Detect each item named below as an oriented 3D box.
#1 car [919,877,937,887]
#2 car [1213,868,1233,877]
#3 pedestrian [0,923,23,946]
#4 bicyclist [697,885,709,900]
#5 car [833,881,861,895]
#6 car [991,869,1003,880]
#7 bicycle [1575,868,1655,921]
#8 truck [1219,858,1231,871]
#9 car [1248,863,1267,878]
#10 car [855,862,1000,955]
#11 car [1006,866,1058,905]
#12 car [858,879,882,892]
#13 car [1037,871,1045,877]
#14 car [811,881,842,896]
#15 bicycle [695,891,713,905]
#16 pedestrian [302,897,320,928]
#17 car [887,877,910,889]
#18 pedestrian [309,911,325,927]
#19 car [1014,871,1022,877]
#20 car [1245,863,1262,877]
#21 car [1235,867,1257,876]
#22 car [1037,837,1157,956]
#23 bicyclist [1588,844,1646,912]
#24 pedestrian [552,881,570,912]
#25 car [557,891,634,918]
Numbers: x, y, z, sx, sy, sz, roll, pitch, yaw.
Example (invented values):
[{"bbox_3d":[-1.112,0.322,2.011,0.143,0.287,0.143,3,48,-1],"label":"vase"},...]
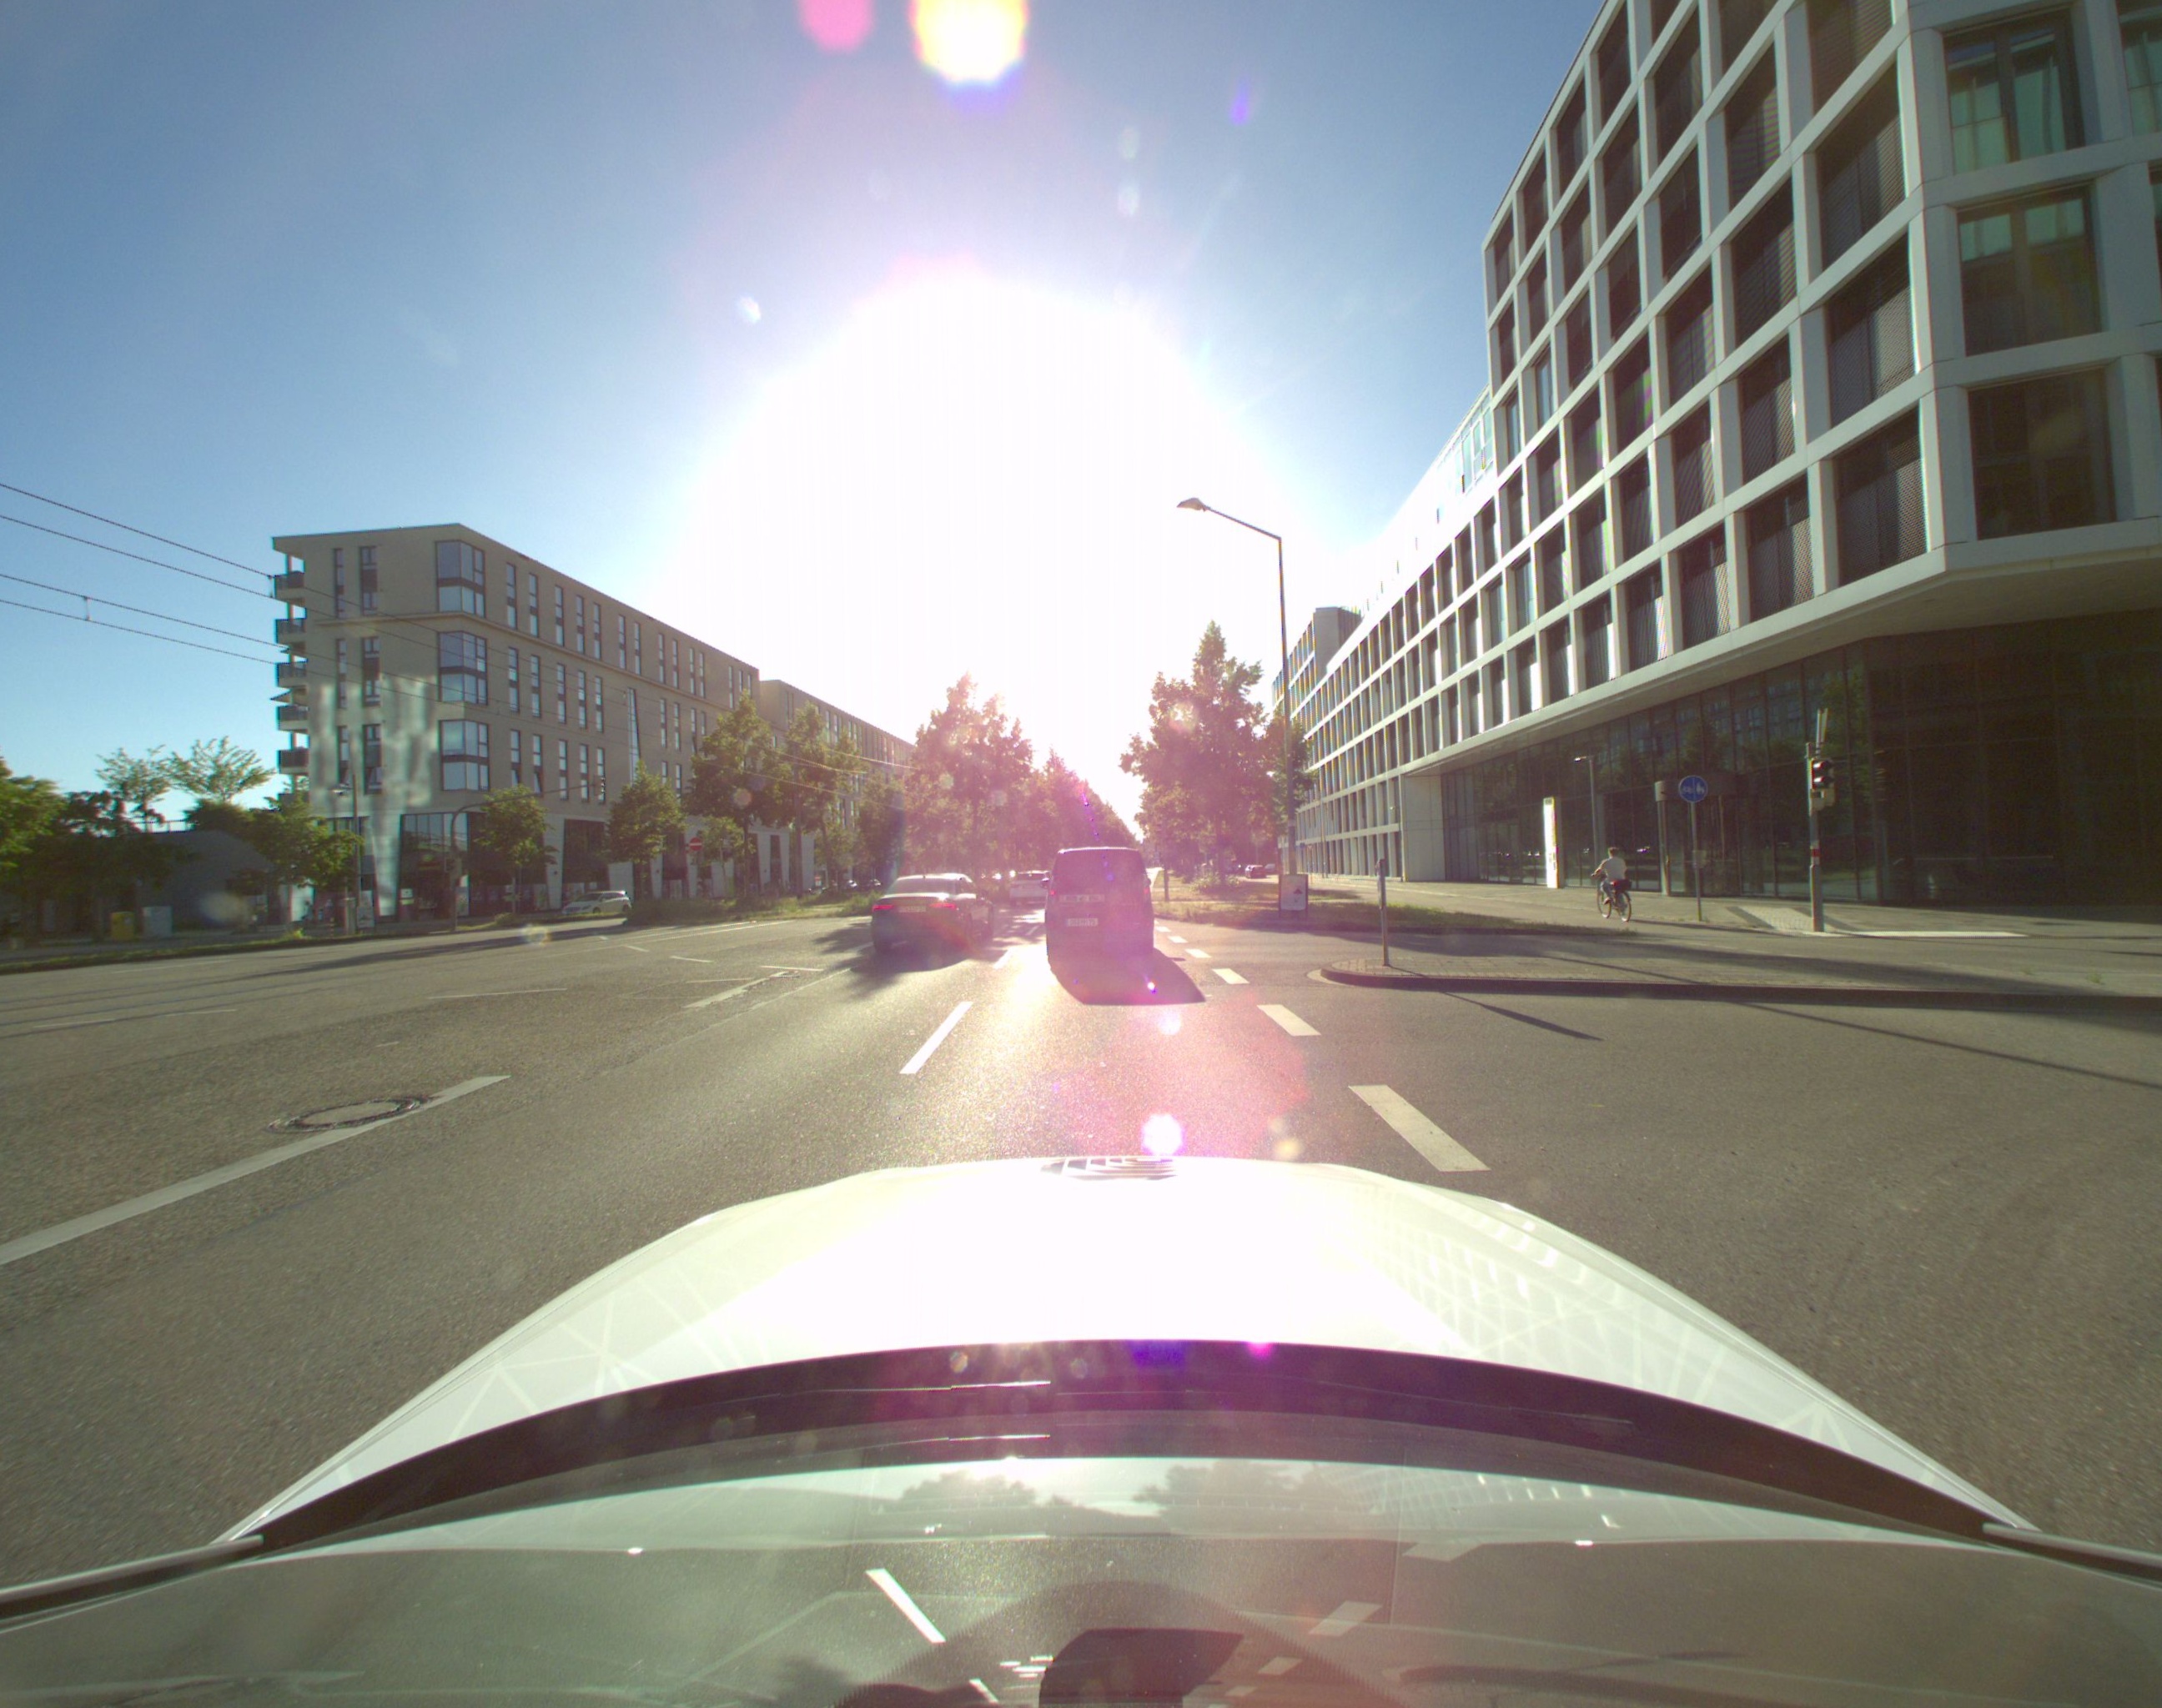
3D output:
[{"bbox_3d":[-22.315,4.030,119.077,1.572,1.342,3.717,-2,-1,5],"label":"car"},{"bbox_3d":[25.132,3.279,144.290,3.376,1.359,1.475,-2,-1,12],"label":"car"},{"bbox_3d":[-56.330,4.248,42.892,0.436,1.125,0.601,-1,-2,8],"label":"pedestrian"},{"bbox_3d":[-32.339,3.277,69.719,0.574,1.293,0.707,-2,-2,13],"label":"bicyclist"},{"bbox_3d":[-25.007,3.661,87.056,1.572,1.342,3.717,-2,-1,5],"label":"car"},{"bbox_3d":[-17.339,4.260,168.236,1.721,2.014,4.003,-2,-1,3],"label":"car"},{"bbox_3d":[12.704,0.934,19.450,0.738,1.174,1.964,-2,-1,6],"label":"bicycle"},{"bbox_3d":[29.005,2.065,164.126,1.823,2.501,5.940,-2,-1,5],"label":"truck"},{"bbox_3d":[20.242,1.850,93.596,1.748,1.611,3.911,-2,-1,7],"label":"car"},{"bbox_3d":[-2.852,0.964,16.072,1.800,1.527,4.116,-2,-1,4],"label":"car"},{"bbox_3d":[-1.991,1.272,34.087,1.802,1.435,4.113,-2,-1,1],"label":"car"},{"bbox_3d":[-24.321,3.649,93.966,1.572,1.342,3.717,-2,-1,5],"label":"car"},{"bbox_3d":[-11.605,5.822,235.613,1.747,1.574,4.005,-2,-1,5],"label":"car"},{"bbox_3d":[-25.283,3.419,80.940,1.572,1.342,3.717,-2,-1,5],"label":"car"},{"bbox_3d":[-32.304,3.777,69.825,0.524,1.111,1.643,-2,-1,13],"label":"bicycle"},{"bbox_3d":[-44.461,3.378,47.018,0.602,1.771,0.666,0,-2,-31],"label":"pedestrian"},{"bbox_3d":[-23.866,3.795,106.523,1.767,1.528,3.811,-2,-1,5],"label":"car"},{"bbox_3d":[-44.947,3.823,47.933,0.602,0.920,0.429,0,-2,-31],"label":"pedestrian"},{"bbox_3d":[-17.648,5.650,228.482,1.724,1.772,4.005,-2,-1,5],"label":"car"},{"bbox_3d":[20.887,1.931,98.744,1.809,1.532,3.445,-2,-1,9],"label":"car"},{"bbox_3d":[26.777,2.857,132.208,3.376,1.359,1.475,-2,-1,12],"label":"car"},{"bbox_3d":[0.259,0.690,14.725,1.802,1.794,4.112,-2,-1,0],"label":"car"},{"bbox_3d":[12.688,0.557,19.312,0.767,1.531,0.851,-3,-1,5],"label":"bicyclist"},{"bbox_3d":[-31.372,2.573,49.140,0.576,1.812,0.800,-1,-2,2],"label":"pedestrian"},{"bbox_3d":[-28.766,2.966,48.427,1.572,1.342,4.478,-2,-1,5],"label":"car"}]
